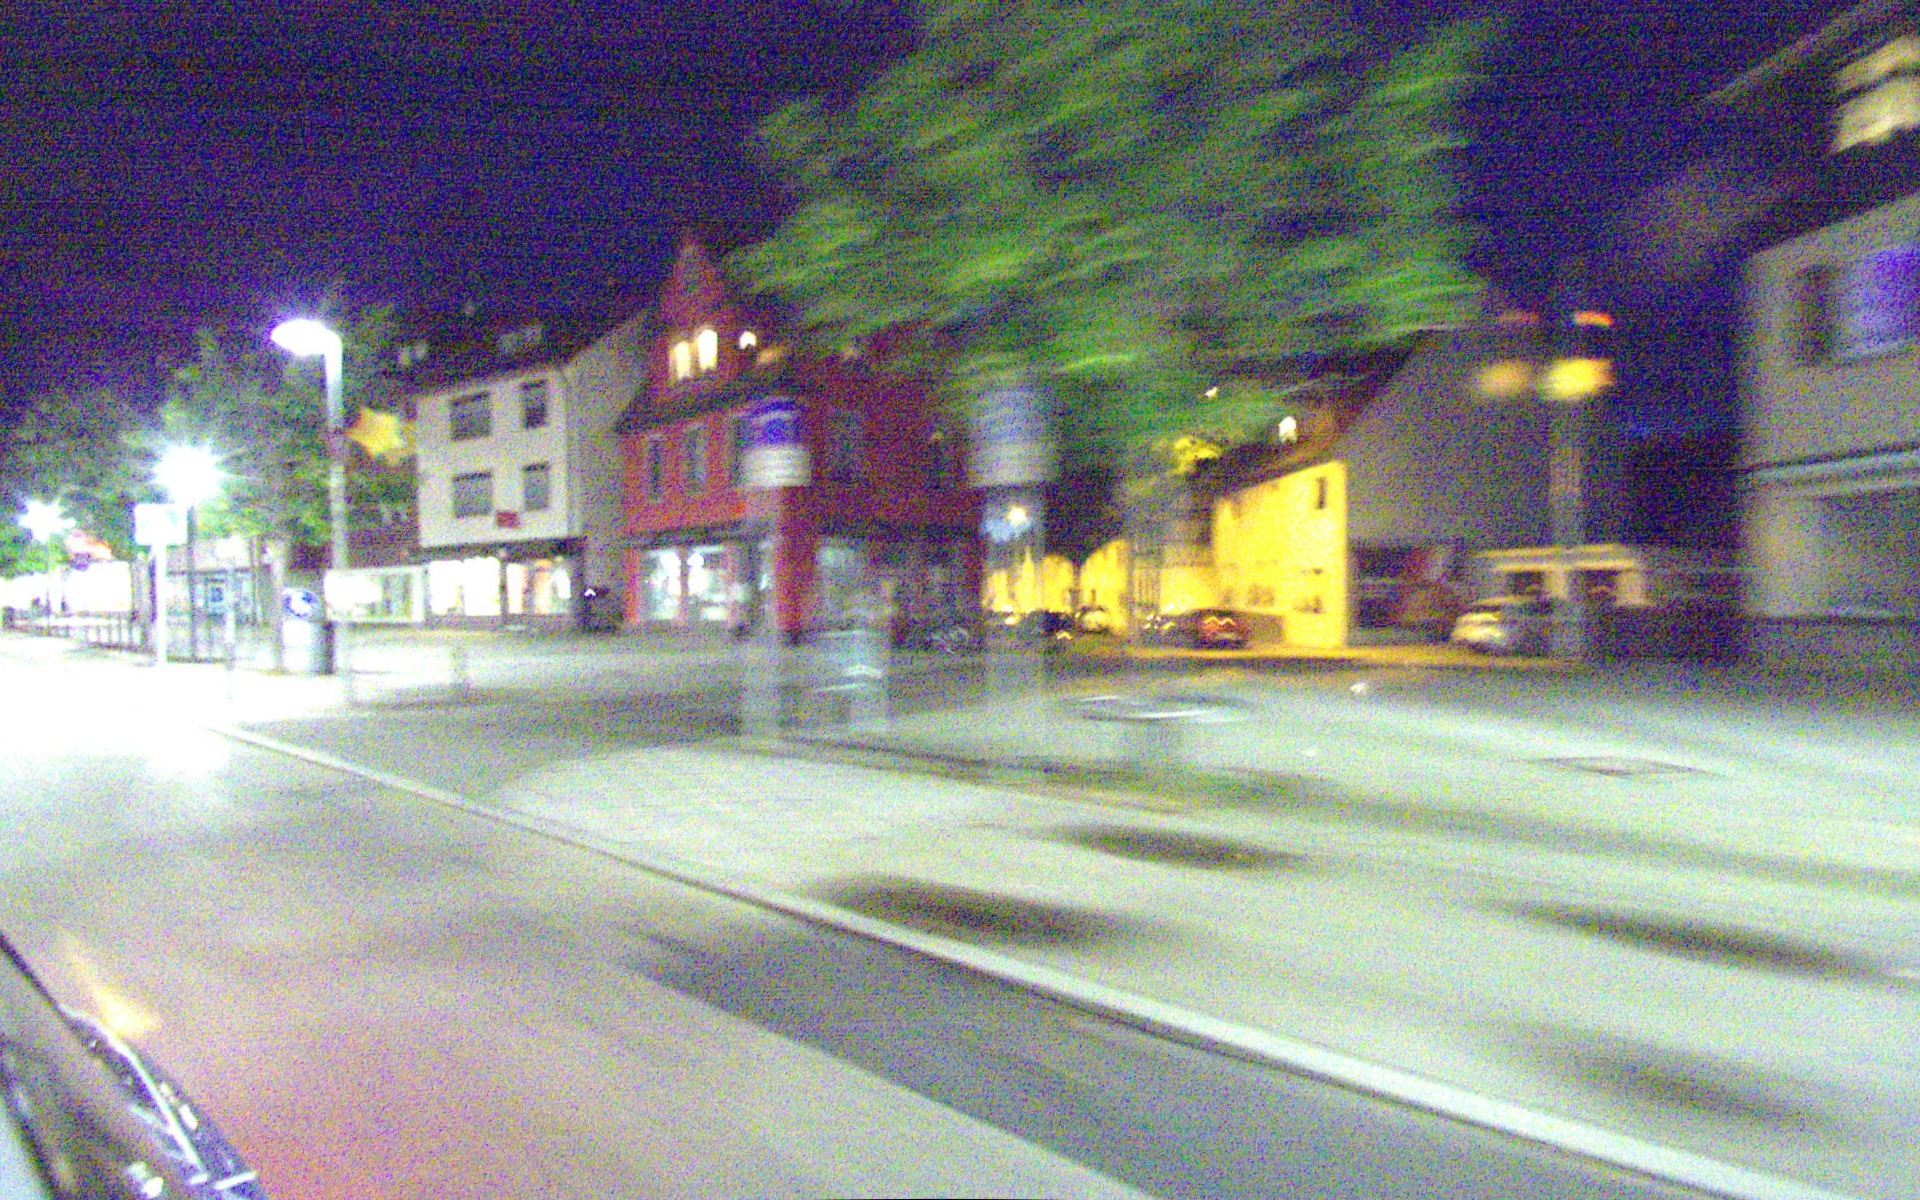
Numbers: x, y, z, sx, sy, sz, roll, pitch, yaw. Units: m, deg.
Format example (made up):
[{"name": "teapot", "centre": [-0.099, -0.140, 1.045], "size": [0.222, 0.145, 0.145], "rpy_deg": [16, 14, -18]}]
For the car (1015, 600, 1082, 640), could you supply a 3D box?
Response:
[{"name": "car", "centre": [3.206, 0.738, 37.457], "size": [1.793, 1.386, 4.004], "rpy_deg": [0, -1, -5]}]

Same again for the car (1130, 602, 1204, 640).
[{"name": "car", "centre": [8.095, 0.832, 39.885], "size": [1.793, 1.386, 4.004], "rpy_deg": [0, -1, -5]}]

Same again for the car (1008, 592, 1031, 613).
[{"name": "car", "centre": [4.817, 0.183, 82.160], "size": [1.553, 1.580, 3.422], "rpy_deg": [0, 1, -3]}]

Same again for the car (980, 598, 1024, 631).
[{"name": "car", "centre": [2.160, 0.768, 52.944], "size": [1.793, 1.650, 4.004], "rpy_deg": [0, 0, -5]}]

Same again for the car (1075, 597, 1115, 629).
[{"name": "car", "centre": [7.199, 0.668, 54.217], "size": [1.553, 1.580, 3.422], "rpy_deg": [0, 1, -3]}]

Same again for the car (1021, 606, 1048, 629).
[{"name": "car", "centre": [5.372, 1.241, 73.079], "size": [1.553, 1.580, 3.422], "rpy_deg": [0, 1, -3]}]

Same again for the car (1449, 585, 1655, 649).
[{"name": "car", "centre": [14.381, 0.408, 24.712], "size": [3.938, 1.453, 1.923], "rpy_deg": [-1, -1, -6]}]

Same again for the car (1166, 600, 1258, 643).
[{"name": "car", "centre": [8.462, 0.727, 34.366], "size": [1.793, 1.386, 4.004], "rpy_deg": [0, -1, -5]}]
